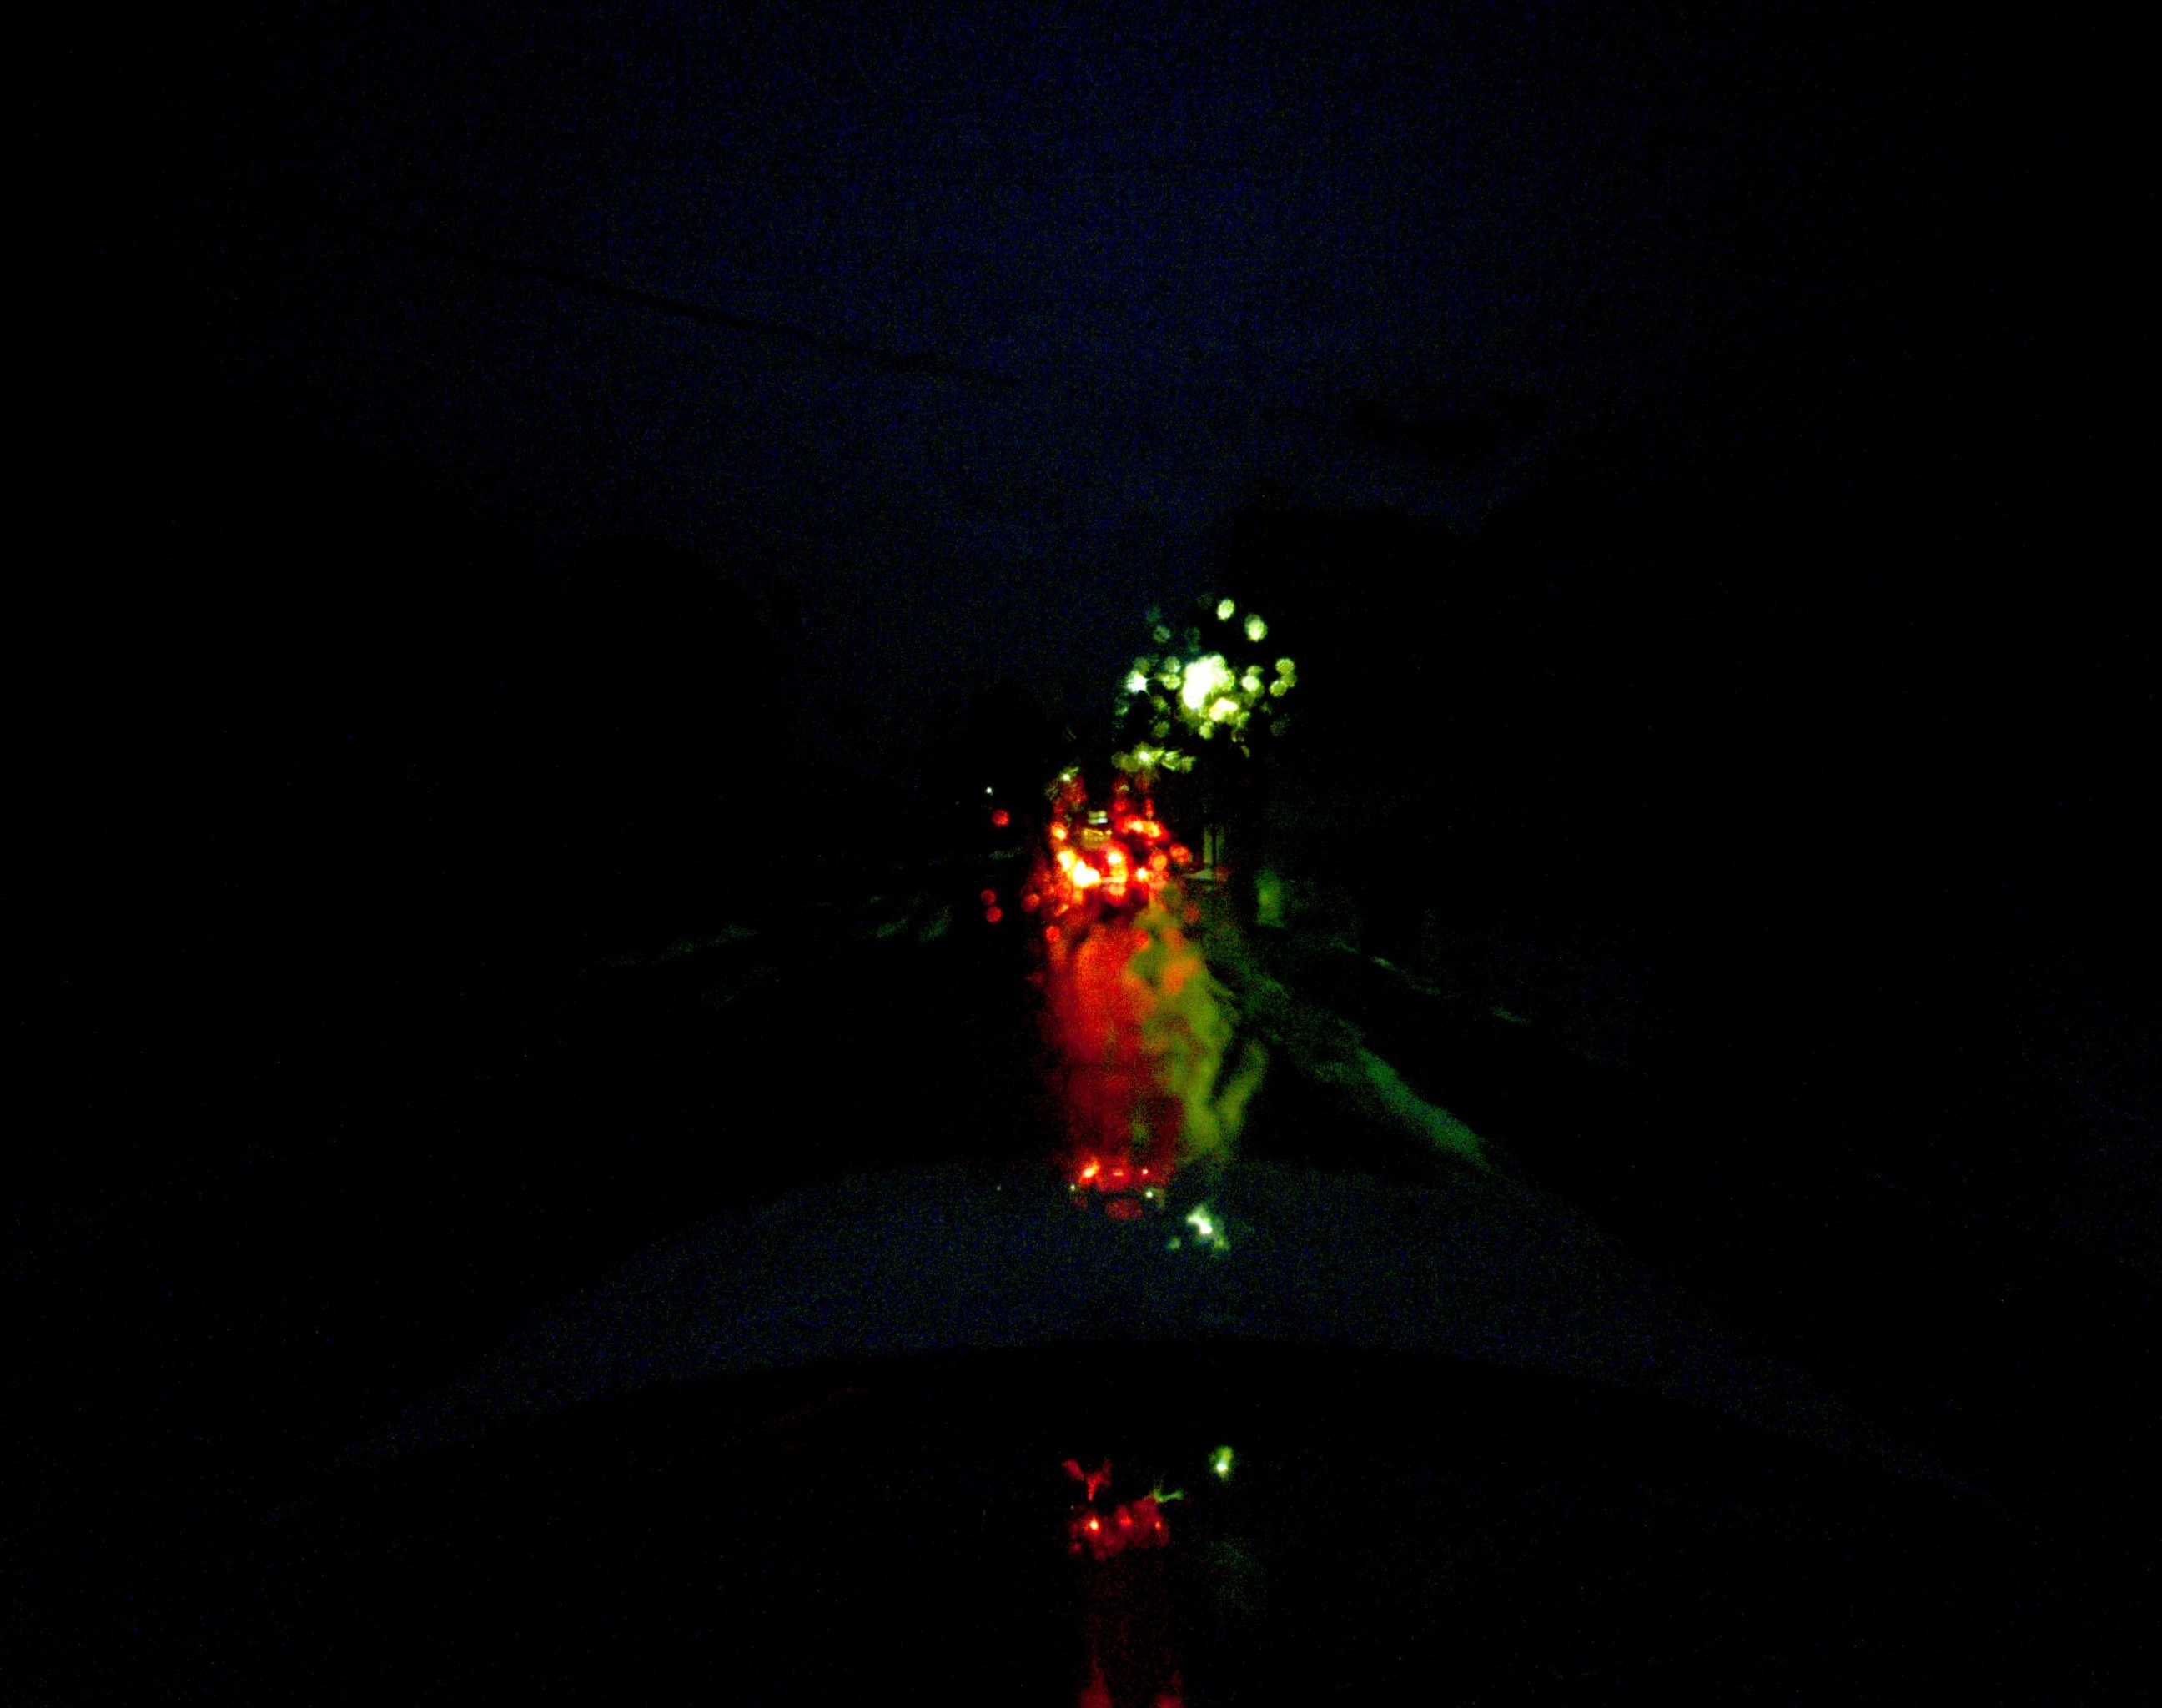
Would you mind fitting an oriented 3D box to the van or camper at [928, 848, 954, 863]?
[{"bbox_3d":[-11.170,0.139,65.000,1.289,1.101,3.246,0,-1,-24],"label":"van or camper"}]

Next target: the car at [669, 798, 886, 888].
[{"bbox_3d":[-9.382,-0.270,25.409,6.133,2.553,1.981,1,-1,-30],"label":"car"}]

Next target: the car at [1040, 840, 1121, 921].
[{"bbox_3d":[0.054,0.587,20.605,1.815,1.796,3.580,-2,1,2],"label":"car"}]
